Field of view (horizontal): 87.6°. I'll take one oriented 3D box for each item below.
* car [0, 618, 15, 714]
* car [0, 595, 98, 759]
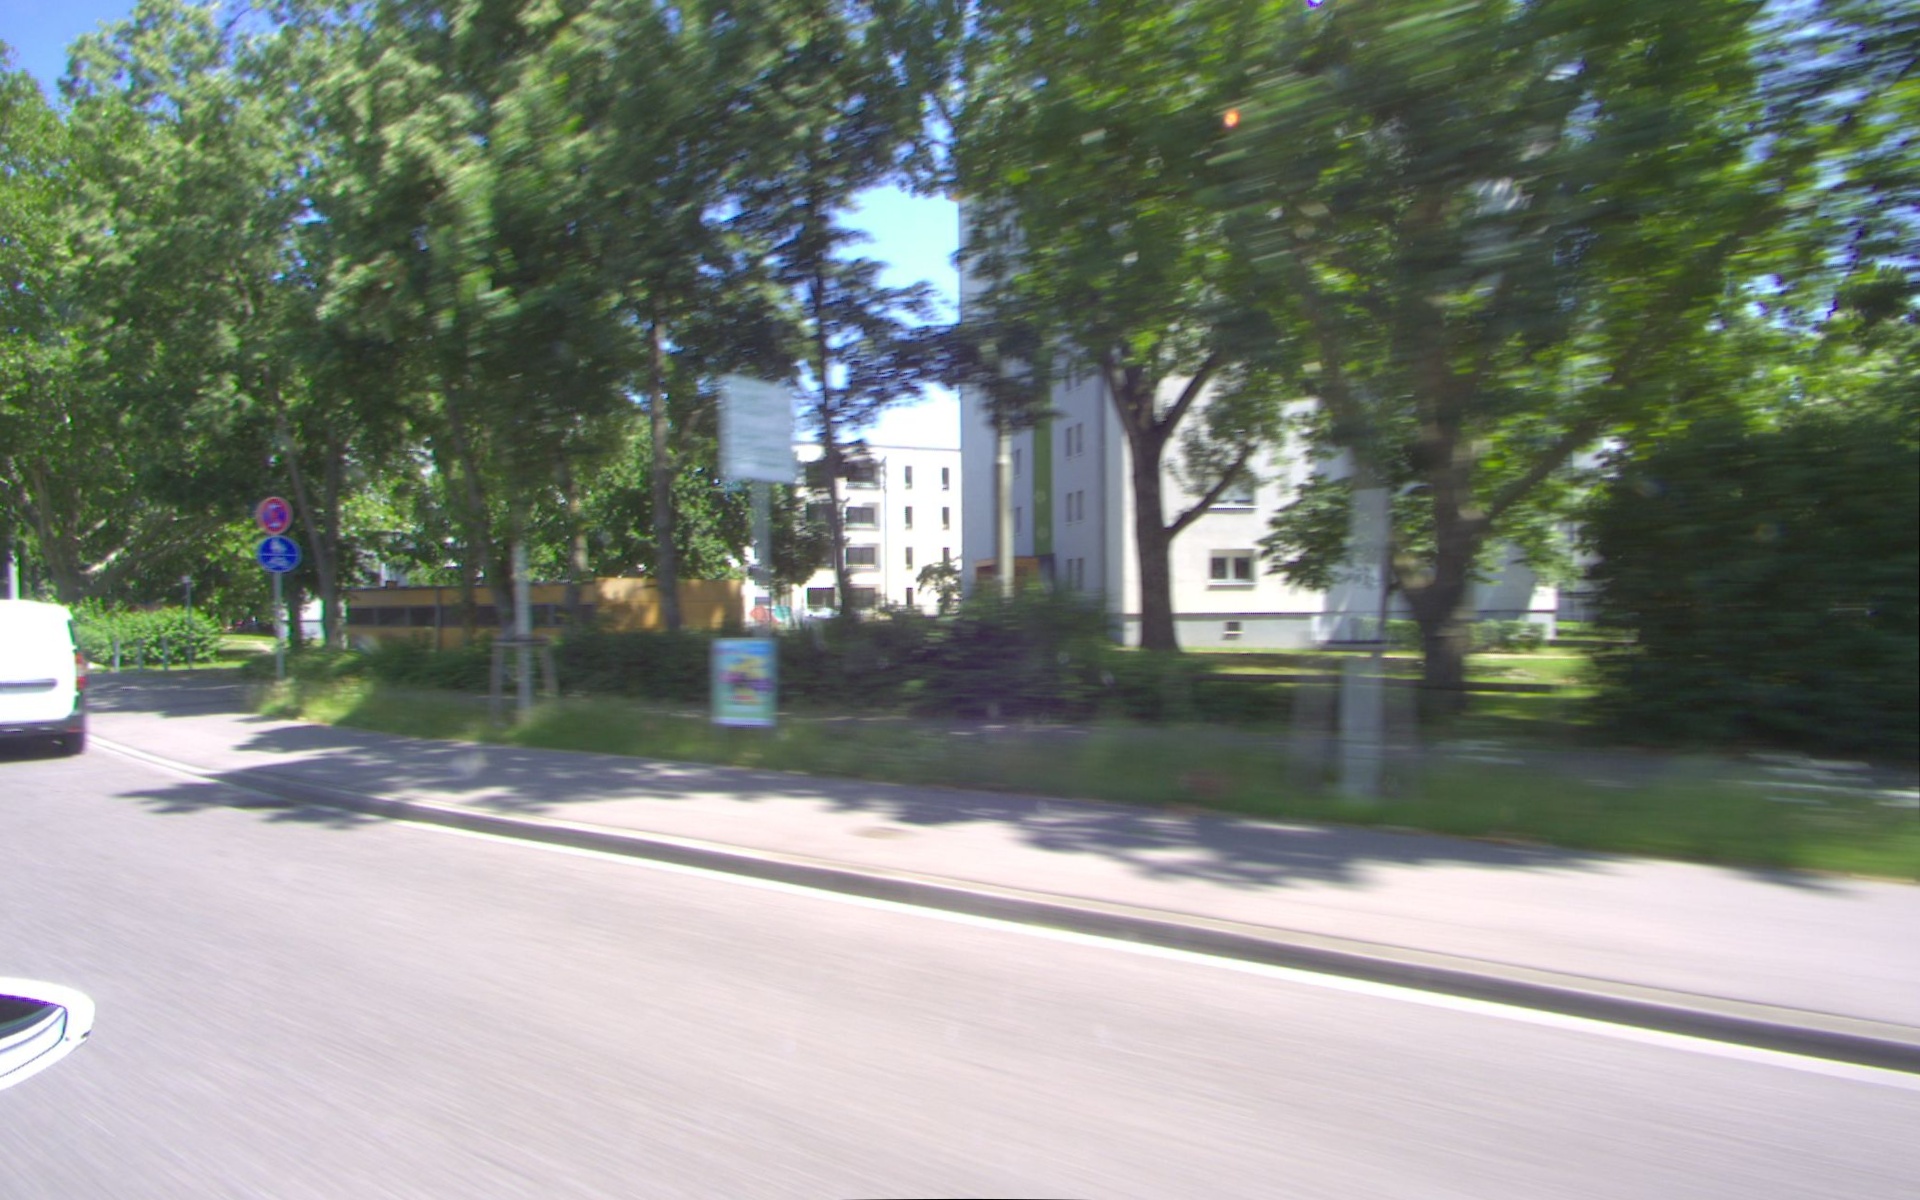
[{"bbox_3d":[-16.963,1.042,16.498,3.835,1.507,1.712,-1,-2,42],"label":"car"},{"bbox_3d":[-12.039,0.856,12.213,4.377,1.769,1.702,-1,-2,41],"label":"car"}]
